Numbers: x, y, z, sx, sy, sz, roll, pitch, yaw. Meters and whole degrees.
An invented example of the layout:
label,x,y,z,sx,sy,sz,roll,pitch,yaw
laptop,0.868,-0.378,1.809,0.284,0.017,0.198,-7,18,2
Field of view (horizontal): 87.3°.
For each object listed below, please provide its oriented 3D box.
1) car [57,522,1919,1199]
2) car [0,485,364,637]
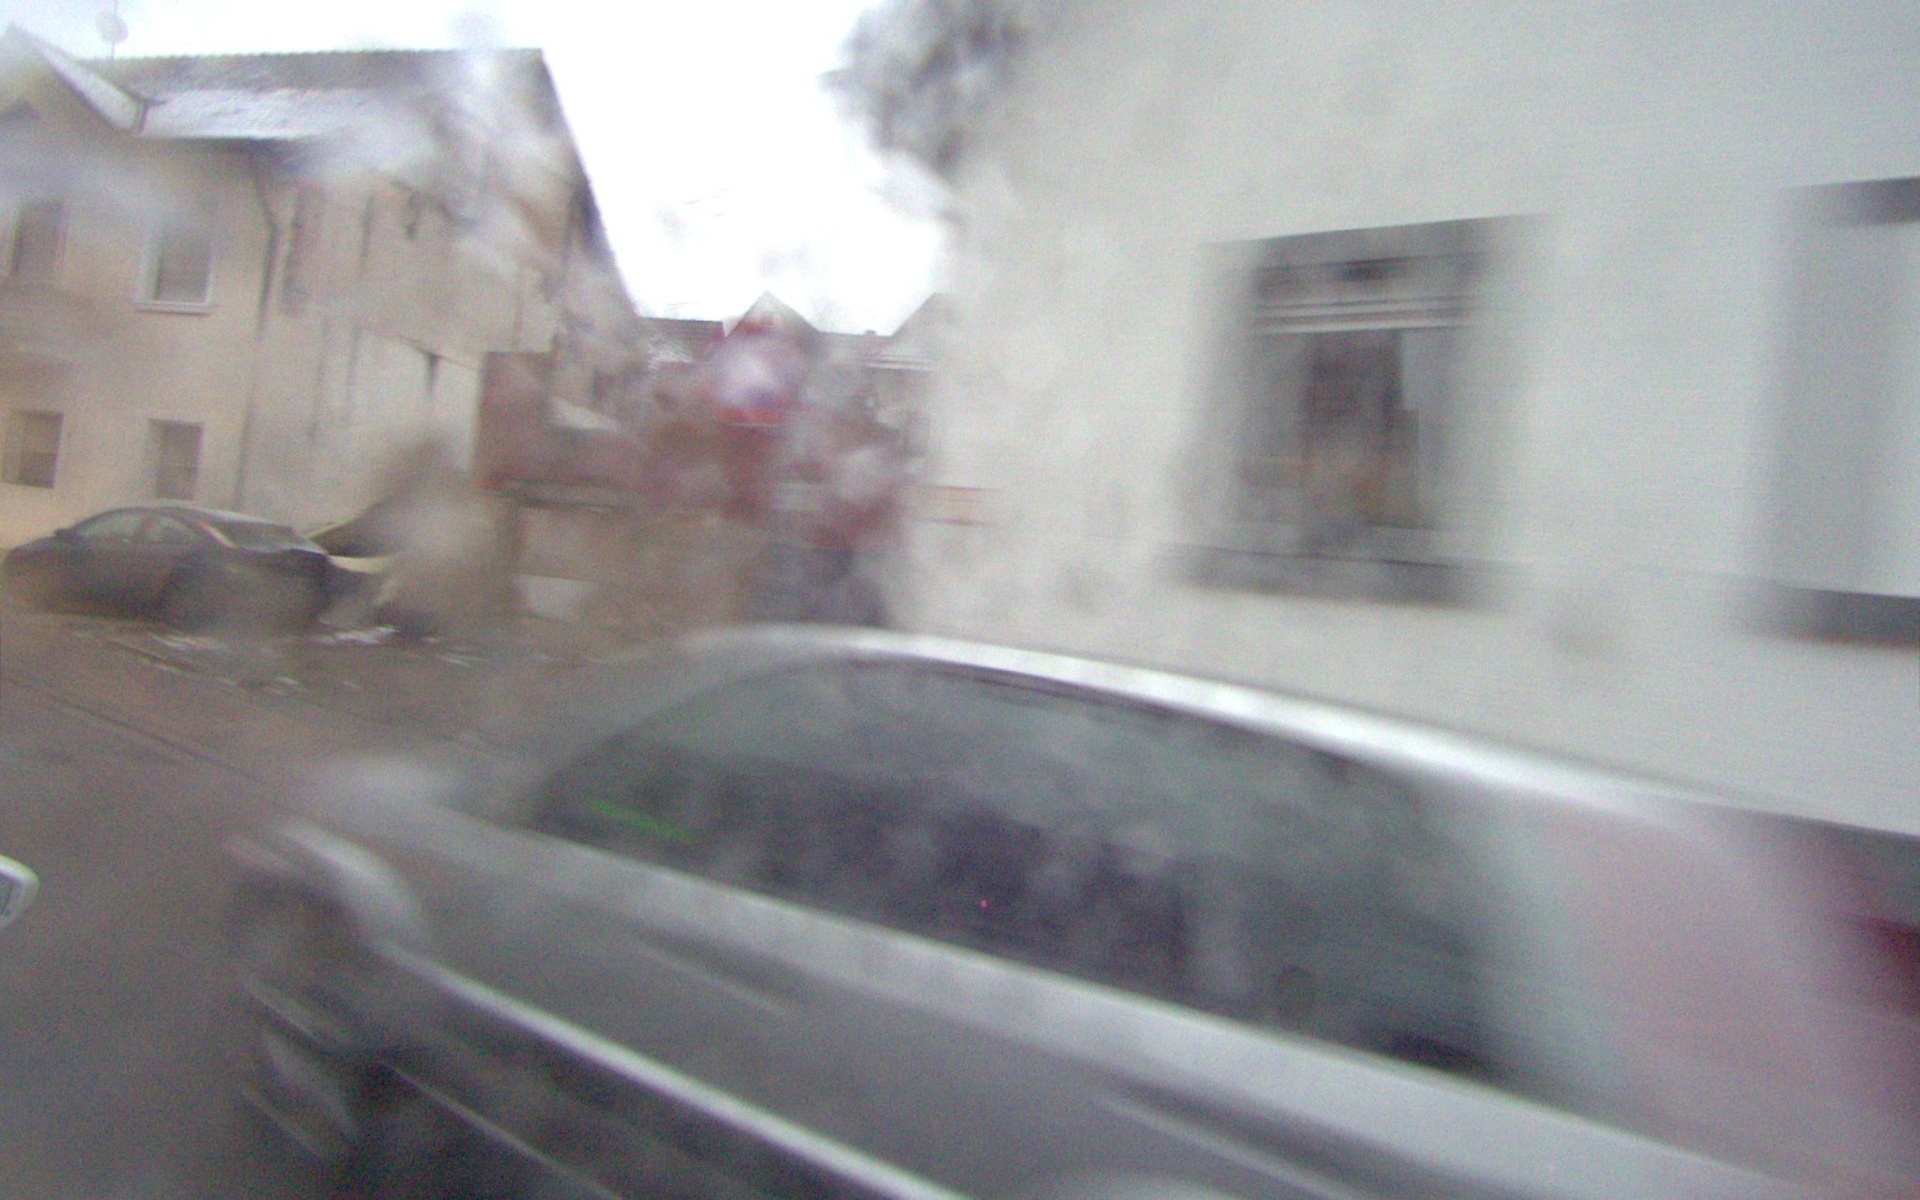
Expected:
label,x,y,z,sx,sy,sz,roll,pitch,yaw
car,-0.326,0.829,2.623,3.931,1.510,1.644,7,-4,28
car,-10.381,-0.499,13.301,4.197,1.506,1.813,6,0,15
